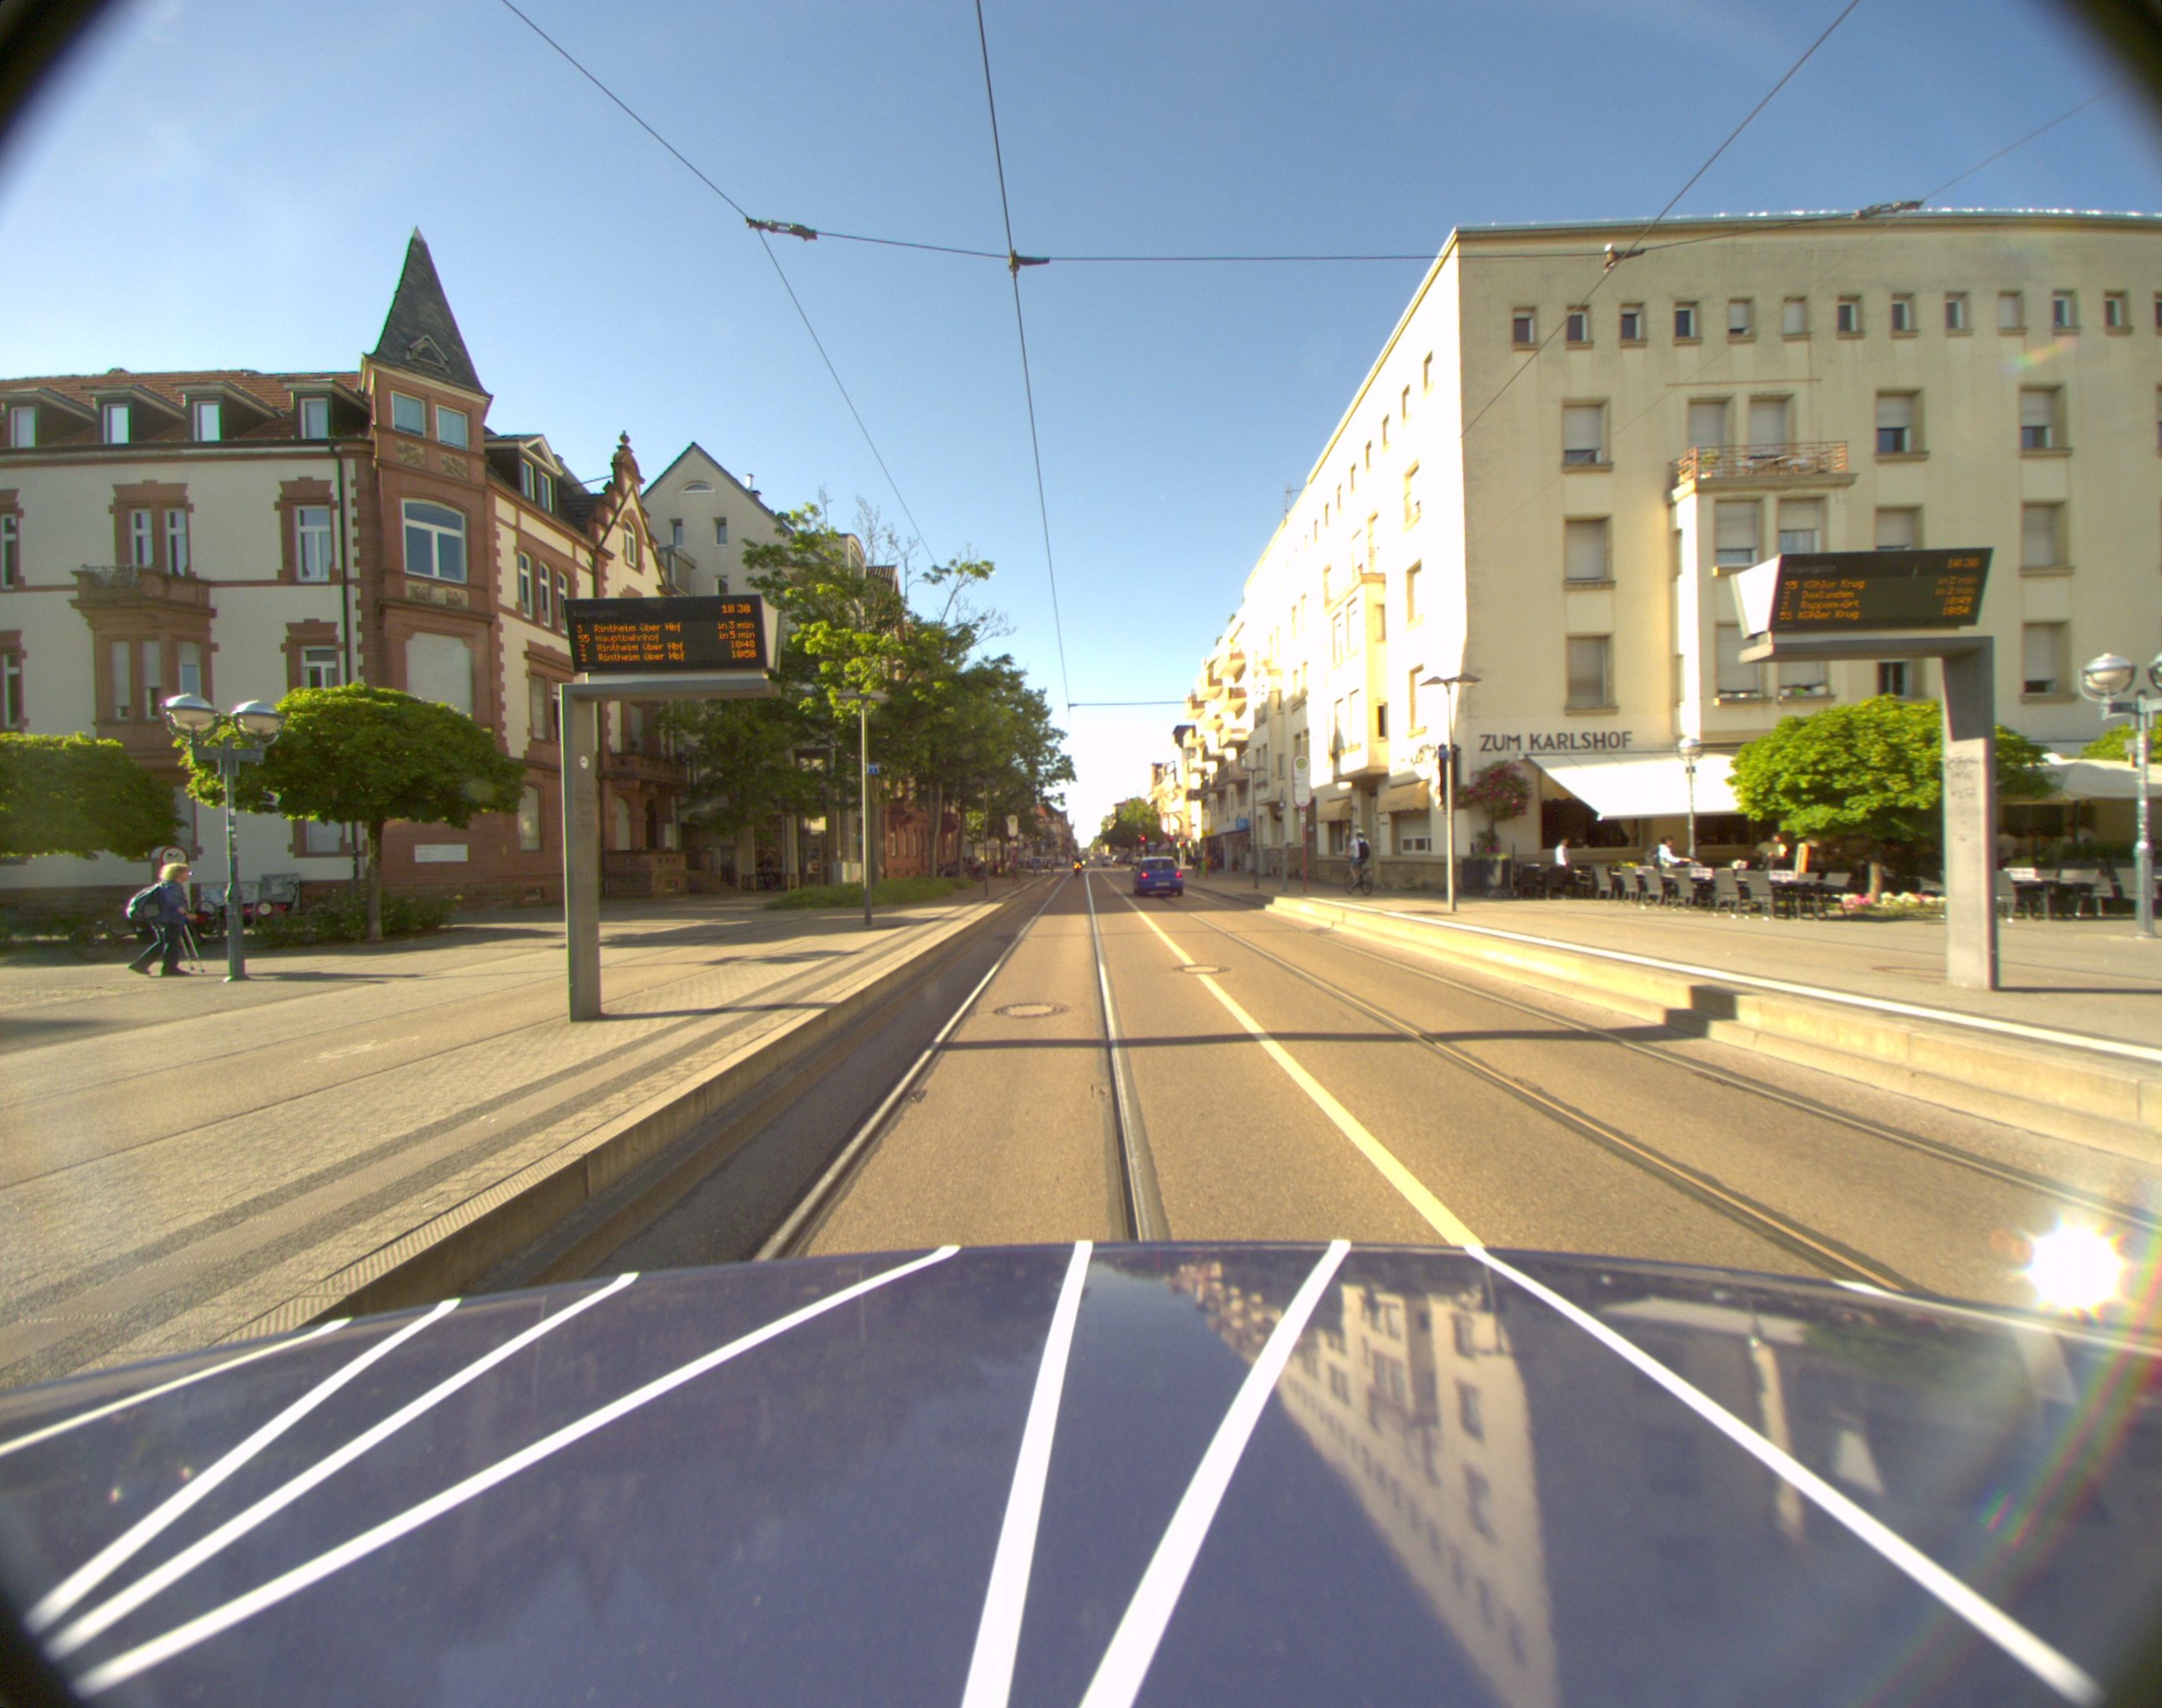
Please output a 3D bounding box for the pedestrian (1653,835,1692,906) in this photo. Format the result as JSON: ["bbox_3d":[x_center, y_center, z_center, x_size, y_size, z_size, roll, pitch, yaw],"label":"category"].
[{"bbox_3d":[13.793,0.395,17.734,0.672,1.634,0.678,-2,-3,37],"label":"pedestrian"}]

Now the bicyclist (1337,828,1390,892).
[{"bbox_3d":[8.147,0.169,21.962,1.007,1.783,1.094,-2,1,-8],"label":"bicyclist"}]

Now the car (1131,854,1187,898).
[{"bbox_3d":[2.902,0.770,28.898,1.671,1.479,4.000,-2,0,0],"label":"car"}]

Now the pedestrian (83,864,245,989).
[{"bbox_3d":[-13.108,0.994,10.910,1.070,1.659,0.956,-2,1,-12],"label":"pedestrian"}]

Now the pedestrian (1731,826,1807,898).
[{"bbox_3d":[15.998,0.201,17.691,1.066,1.634,0.757,0,-2,-4],"label":"pedestrian"}]

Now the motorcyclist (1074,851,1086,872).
[{"bbox_3d":[-0.099,0.555,55.460,0.821,1.466,1.114,-1,1,1],"label":"motorcyclist"}]

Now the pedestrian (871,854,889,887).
[{"bbox_3d":[-10.548,0.855,39.892,0.742,1.725,0.877,-2,1,-6],"label":"pedestrian"}]

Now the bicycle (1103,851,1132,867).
[{"bbox_3d":[4.308,0.599,88.512,3.110,1.719,1.226,-2,1,-22],"label":"bicycle"}]

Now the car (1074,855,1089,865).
[{"bbox_3d":[0.091,0.895,107.711,1.998,1.318,3.863,-1,0,1],"label":"car"}]

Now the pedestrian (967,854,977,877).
[{"bbox_3d":[-9.679,0.988,67.462,0.653,2.002,0.559,-1,1,3],"label":"pedestrian"}]

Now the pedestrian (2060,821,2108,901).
[{"bbox_3d":[23.380,0.153,17.712,0.578,1.813,0.647,-2,1,-36],"label":"pedestrian"}]

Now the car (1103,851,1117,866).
[{"bbox_3d":[4.256,0.596,112.000,1.877,2.105,4.000,-2,1,2],"label":"car"}]

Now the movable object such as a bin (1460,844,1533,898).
[{"bbox_3d":[11.164,0.439,20.447,1.319,1.392,1.128,-1,1,-1],"label":"movable object such as a bin"}]

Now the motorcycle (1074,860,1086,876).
[{"bbox_3d":[-0.082,0.996,55.554,0.799,1.090,2.429,-1,0,1],"label":"motorcycle"}]

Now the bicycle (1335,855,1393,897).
[{"bbox_3d":[8.155,0.612,22.005,0.714,1.119,2.035,-2,0,-6],"label":"bicycle"}]

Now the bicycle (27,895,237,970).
[{"bbox_3d":[-18.203,1.454,14.732,0.790,1.062,2.804,-2,2,-8],"label":"bicycle"}]

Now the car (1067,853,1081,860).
[{"bbox_3d":[-2.168,0.608,228.703,3.996,2.002,2.000,-1,1,1],"label":"car"}]

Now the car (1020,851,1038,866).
[{"bbox_3d":[-7.210,0.632,106.030,1.998,2.002,4.001,-1,0,4],"label":"car"}]

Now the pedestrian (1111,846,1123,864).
[{"bbox_3d":[4.194,0.144,88.497,1.023,2.002,1.175,-2,1,-18],"label":"pedestrian"}]

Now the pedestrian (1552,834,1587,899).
[{"bbox_3d":[12.640,0.342,19.688,0.672,1.634,0.752,-1,-2,27],"label":"pedestrian"}]
